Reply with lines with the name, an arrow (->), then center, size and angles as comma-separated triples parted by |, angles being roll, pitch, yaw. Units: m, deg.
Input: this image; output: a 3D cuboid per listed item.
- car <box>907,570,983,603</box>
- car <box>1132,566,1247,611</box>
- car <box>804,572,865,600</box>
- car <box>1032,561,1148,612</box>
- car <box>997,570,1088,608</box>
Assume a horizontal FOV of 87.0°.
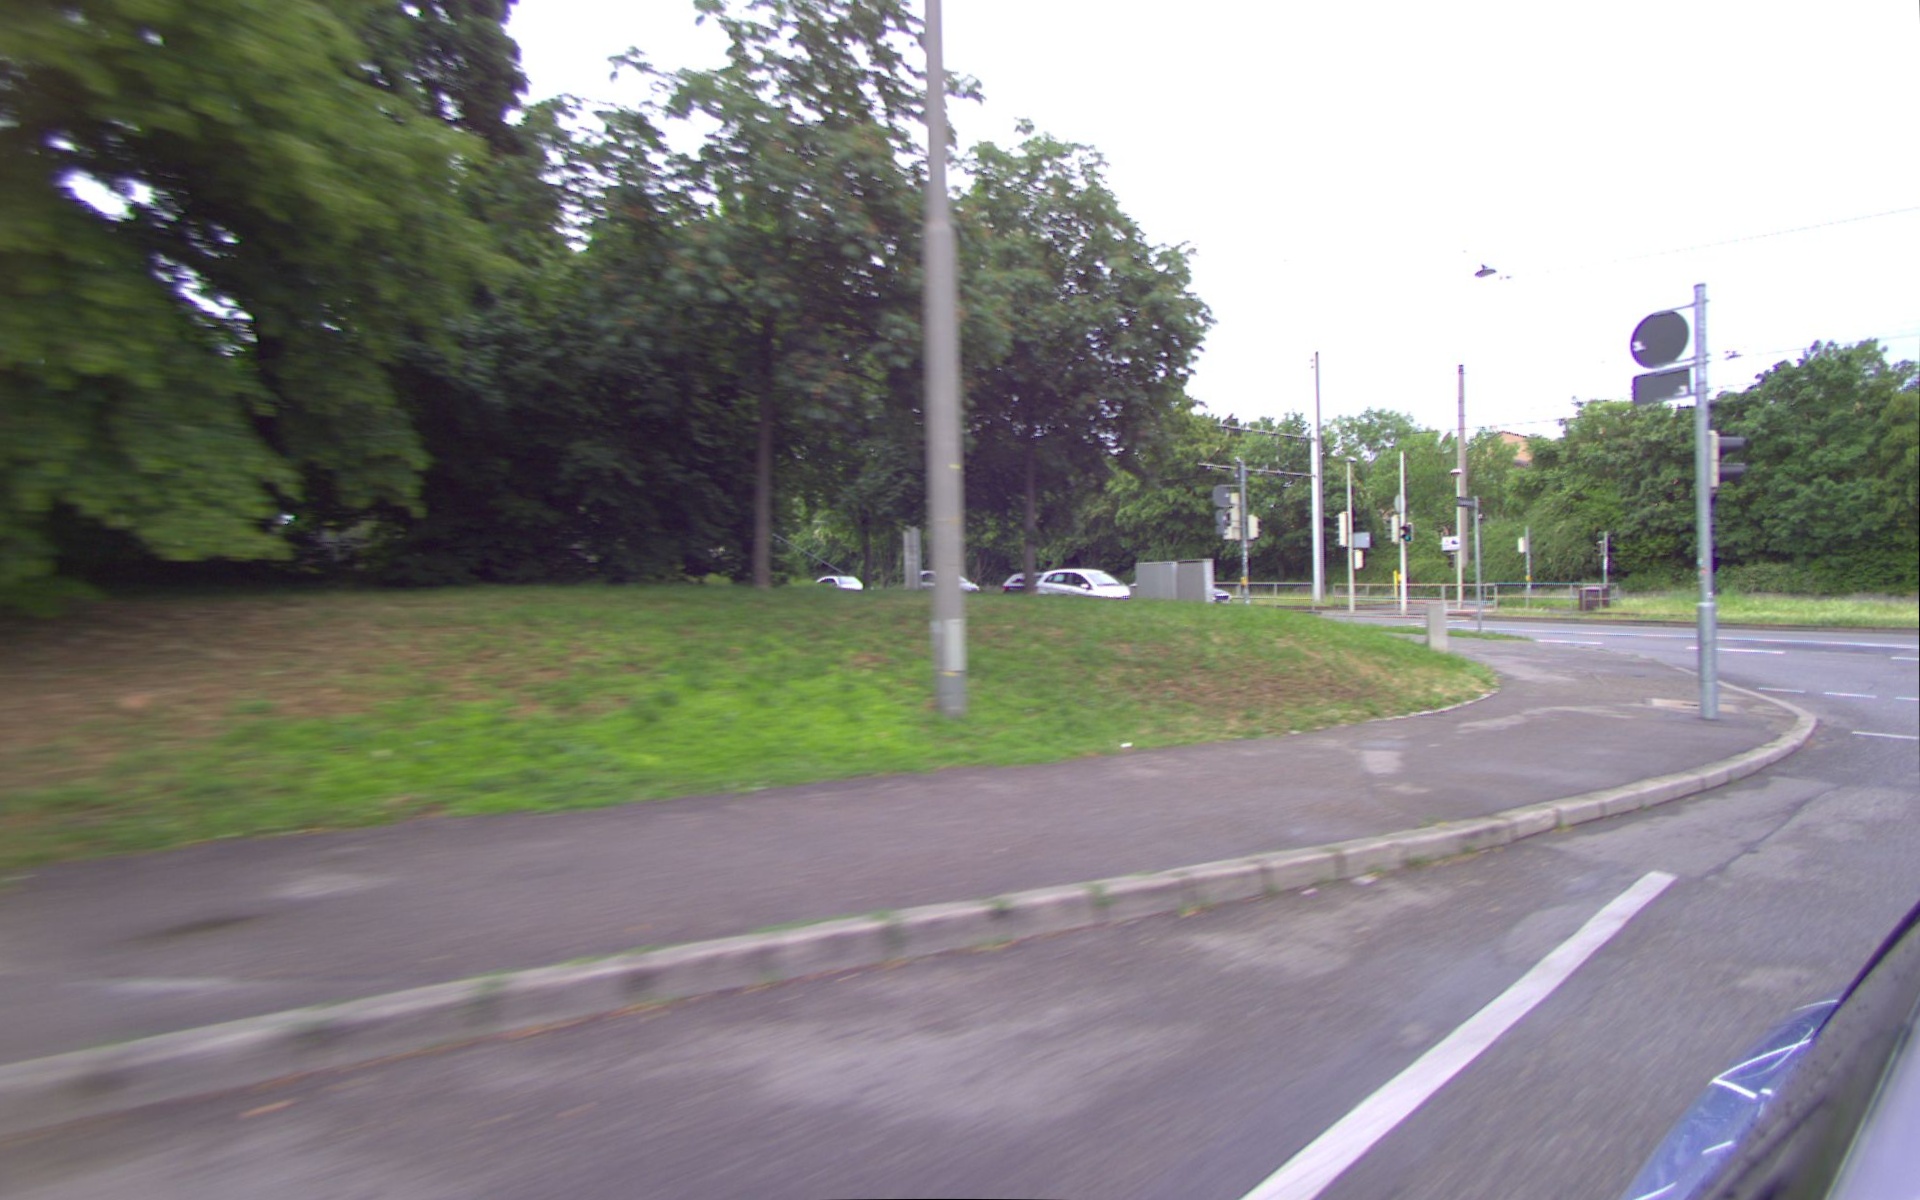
car -> -0.721, -0.626, 46.491 | 1.577, 1.419, 3.790 | -3, 2, -37
car -> 7.965, -0.427, 35.380 | 1.577, 1.419, 3.790 | -4, 3, -37
car -> -6.753, -0.759, 54.191 | 1.577, 1.419, 3.790 | -2, 2, -37
car -> 4.413, -0.491, 34.762 | 1.694, 1.572, 3.860 | -4, 3, -38
car -> 3.315, -0.471, 41.189 | 1.577, 1.419, 3.790 | -3, 3, -37
